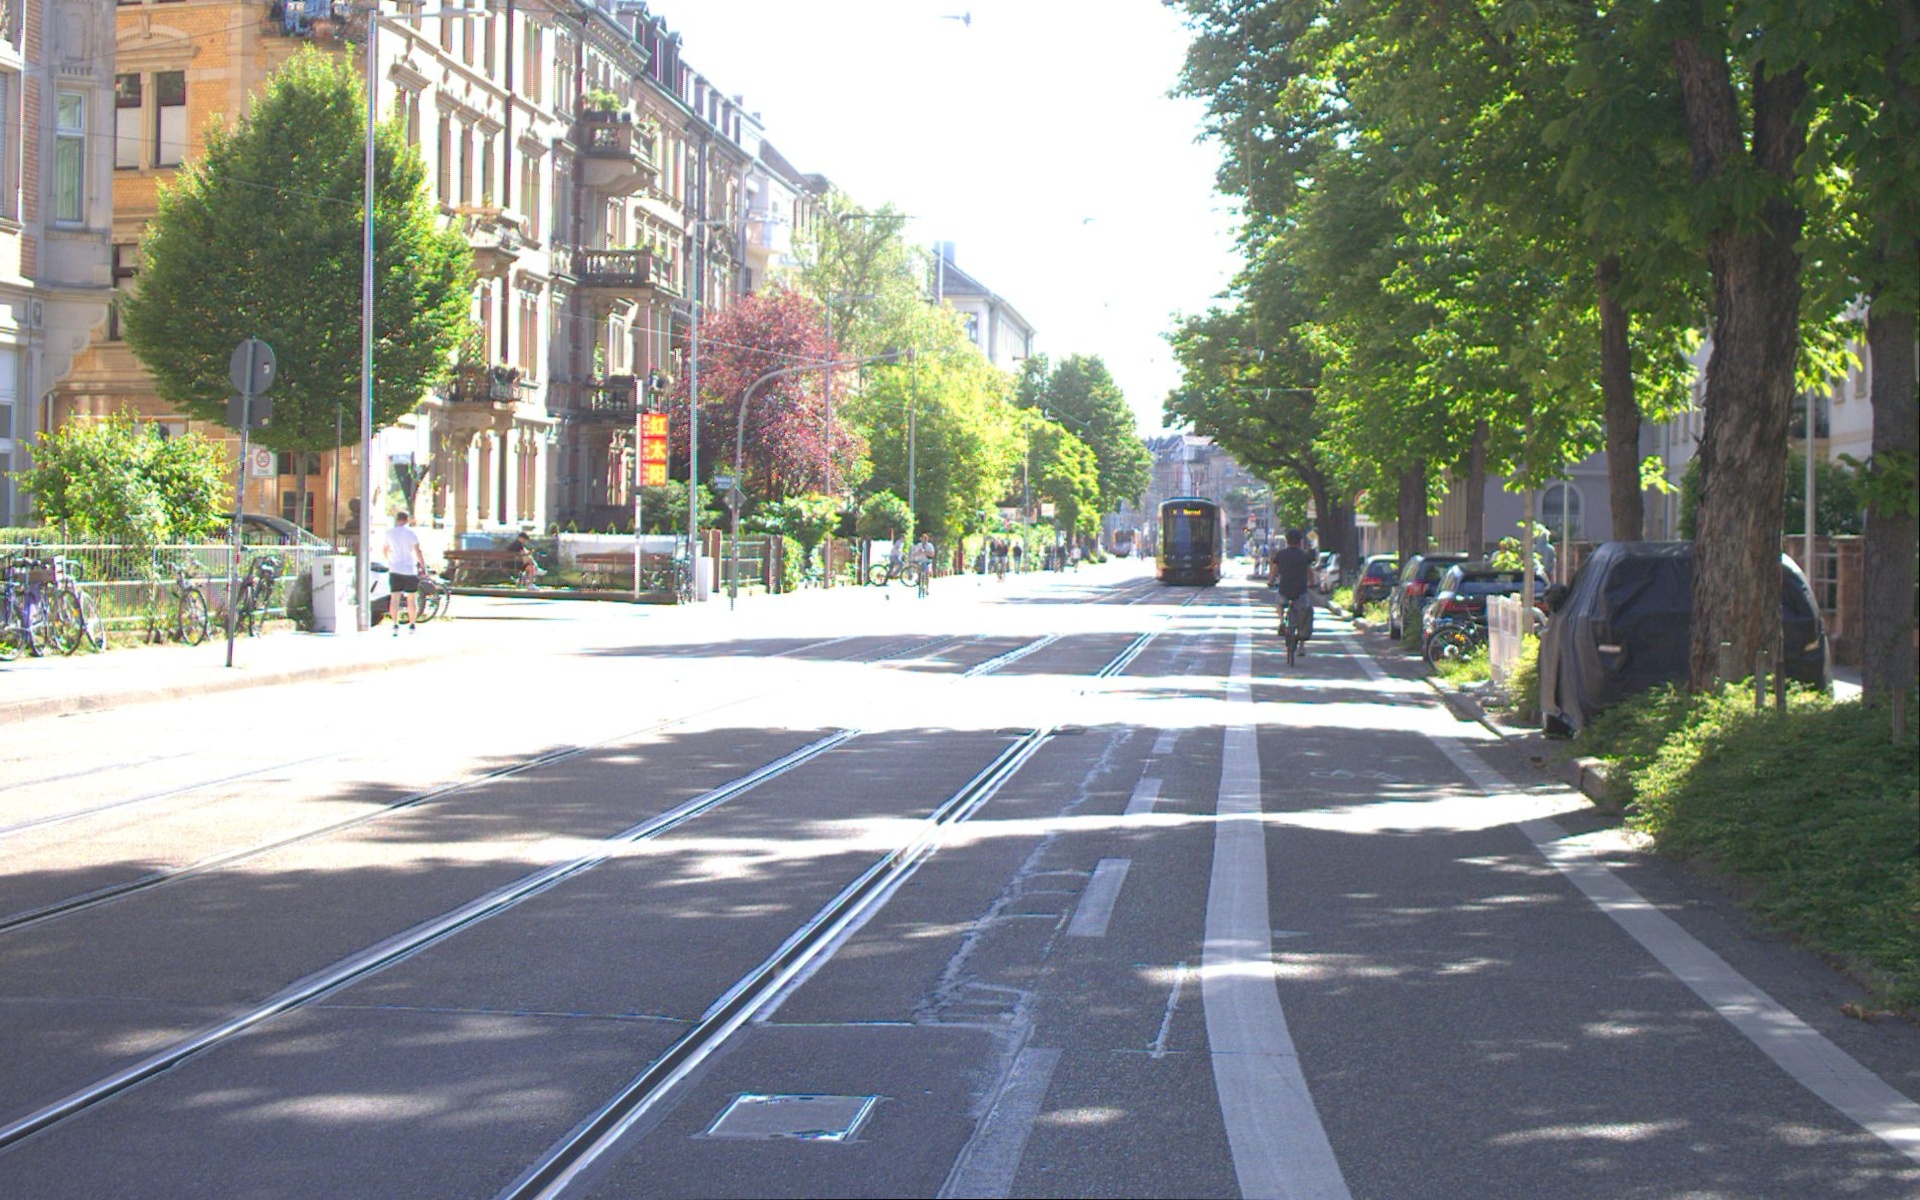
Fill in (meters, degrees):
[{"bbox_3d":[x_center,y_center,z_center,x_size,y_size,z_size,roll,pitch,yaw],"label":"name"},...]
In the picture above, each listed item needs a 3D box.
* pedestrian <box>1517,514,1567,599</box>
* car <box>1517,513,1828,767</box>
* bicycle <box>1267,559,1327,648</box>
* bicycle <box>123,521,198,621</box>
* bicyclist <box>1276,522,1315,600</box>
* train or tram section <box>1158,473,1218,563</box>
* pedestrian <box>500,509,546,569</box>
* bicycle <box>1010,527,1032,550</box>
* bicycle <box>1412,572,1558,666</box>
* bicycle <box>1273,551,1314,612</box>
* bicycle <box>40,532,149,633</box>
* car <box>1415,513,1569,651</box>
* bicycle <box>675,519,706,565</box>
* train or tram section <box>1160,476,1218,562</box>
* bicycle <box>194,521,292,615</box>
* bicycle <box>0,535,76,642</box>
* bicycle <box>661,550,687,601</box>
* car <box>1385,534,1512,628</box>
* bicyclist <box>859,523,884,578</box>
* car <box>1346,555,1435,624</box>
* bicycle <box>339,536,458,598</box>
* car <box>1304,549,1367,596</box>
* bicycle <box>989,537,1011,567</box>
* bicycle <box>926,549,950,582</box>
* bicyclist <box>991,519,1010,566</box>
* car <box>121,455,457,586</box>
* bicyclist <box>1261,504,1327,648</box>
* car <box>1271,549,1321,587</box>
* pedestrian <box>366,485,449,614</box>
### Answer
[{"bbox_3d":[12.200,-0.905,72.047,0.764,1.718,0.578,4,1,34],"label":"pedestrian"},{"bbox_3d":[5.611,0.253,27.561,1.744,1.760,4.477,4,1,4],"label":"car"},{"bbox_3d":[4.461,0.030,45.585,0.692,1.108,1.718,4,1,5],"label":"bicycle"},{"bbox_3d":[-9.476,-0.354,40.699,0.563,1.030,1.768,6,1,-20],"label":"bicycle"},{"bbox_3d":[6.488,-0.764,66.504,0.635,1.463,0.616,4,1,5],"label":"bicyclist"},{"bbox_3d":[9.247,-3.289,139.040,2.154,3.420,6.610,4,1,4],"label":"train or tram section"},{"bbox_3d":[-9.822,-1.364,77.294,0.901,1.348,0.577,1,1,6],"label":"pedestrian"},{"bbox_3d":[3.047,-3.064,170.776,0.632,1.065,1.832,3,1,-12],"label":"bicycle"},{"bbox_3d":[6.701,0.241,43.957,1.762,1.074,0.433,4,1,6],"label":"bicycle"},{"bbox_3d":[6.464,-0.365,66.660,0.692,1.108,1.917,4,1,5],"label":"bicycle"},{"bbox_3d":[-9.316,-0.199,37.055,0.563,1.030,1.767,4,1,4],"label":"bicycle"},{"bbox_3d":[7.297,-0.278,47.492,1.666,1.755,4.231,2,1,4],"label":"car"},{"bbox_3d":[-6.063,-1.309,77.467,0.335,0.997,1.869,4,1,5],"label":"bicycle"},{"bbox_3d":[9.745,-3.409,145.675,2.154,3.420,6.610,4,1,4],"label":"train or tram section"},{"bbox_3d":[-8.849,-0.399,42.368,0.563,1.030,1.768,2,3,-32],"label":"bicycle"},{"bbox_3d":[-9.618,-0.131,35.100,0.563,1.030,1.767,4,1,4],"label":"bicycle"},{"bbox_3d":[-6.372,-0.547,76.556,0.371,1.122,0.808,4,1,5],"label":"bicycle"},{"bbox_3d":[8.106,-0.343,57.325,1.720,1.468,4.246,1,1,3],"label":"car"},{"bbox_3d":[-2.952,-1.658,114.948,0.645,1.789,0.955,4,1,4],"label":"bicyclist"},{"bbox_3d":[9.727,-0.254,77.916,1.787,1.459,4.044,2,1,5],"label":"car"},{"bbox_3d":[-9.212,-0.540,56.389,1.782,0.911,0.621,3,-1,-31],"label":"bicycle"},{"bbox_3d":[12.271,-0.905,112.602,1.628,1.431,4.665,2,1,2],"label":"car"},{"bbox_3d":[1.527,-1.828,131.249,0.692,1.108,1.718,1,1,5],"label":"bicycle"},{"bbox_3d":[-0.634,-1.003,99.200,0.460,0.922,2.202,1,1,5],"label":"bicycle"},{"bbox_3d":[1.552,-2.200,131.260,0.660,1.795,0.616,0,0,5],"label":"bicyclist"},{"bbox_3d":[-9.982,-1.169,51.302,4.447,1.638,1.966,4,1,8],"label":"car"},{"bbox_3d":[4.410,-0.317,45.489,0.727,1.842,0.836,4,1,4],"label":"bicyclist"},{"bbox_3d":[12.882,-1.237,131.943,1.749,1.415,4.000,1,1,4],"label":"car"},{"bbox_3d":[-7.628,-0.689,47.478,0.829,1.718,1.082,4,0,2],"label":"pedestrian"}]
